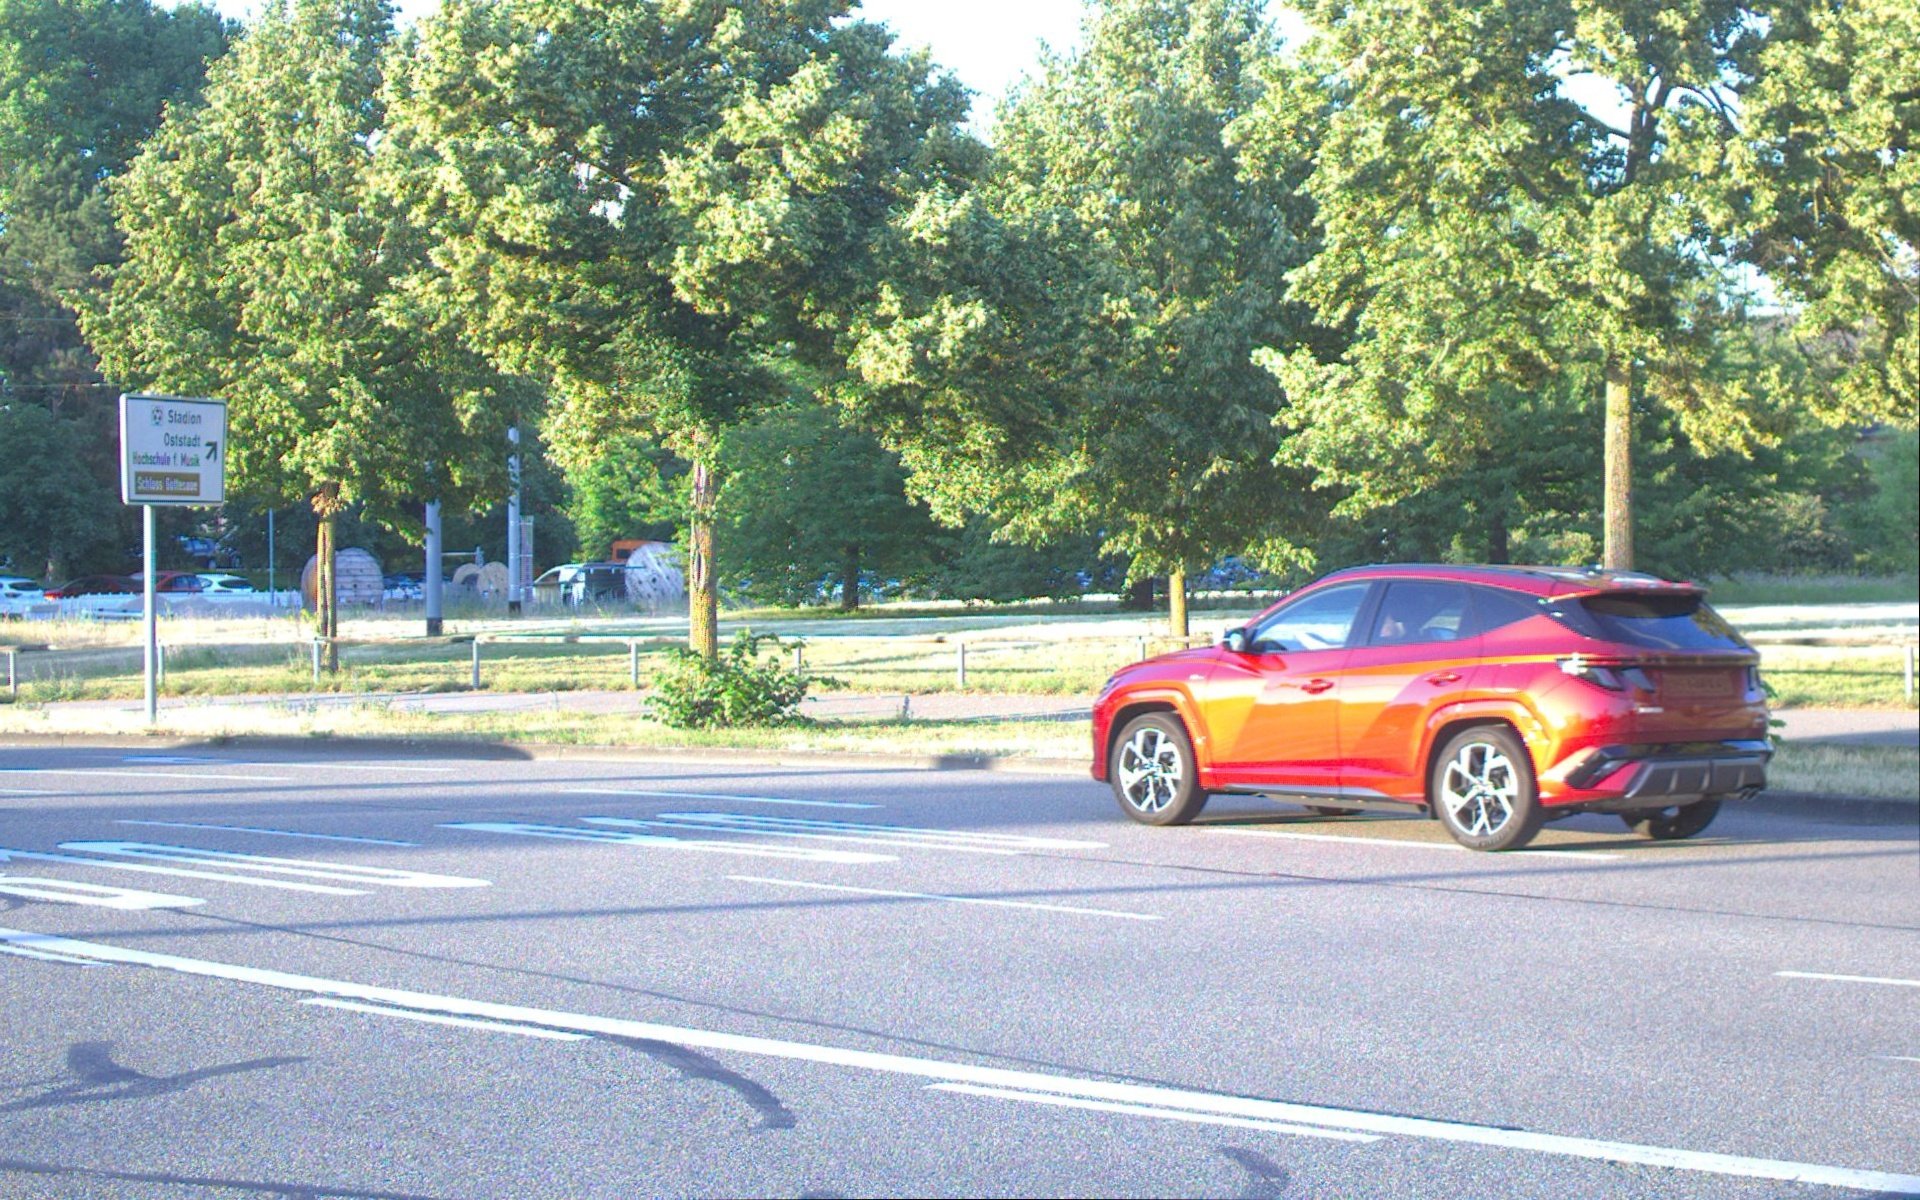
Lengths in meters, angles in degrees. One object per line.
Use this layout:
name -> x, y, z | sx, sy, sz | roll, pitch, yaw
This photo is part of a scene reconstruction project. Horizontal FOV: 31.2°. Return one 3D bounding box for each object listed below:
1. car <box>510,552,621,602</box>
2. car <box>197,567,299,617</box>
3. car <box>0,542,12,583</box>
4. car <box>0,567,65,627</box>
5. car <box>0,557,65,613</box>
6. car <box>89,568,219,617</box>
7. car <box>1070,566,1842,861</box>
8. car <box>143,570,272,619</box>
car -> -13.209, -0.773, 114.889 | 1.734, 1.612, 3.998 | -1, 1, -41
car -> -26.797, -0.318, 129.312 | 1.994, 1.746, 4.597 | -1, 2, -37
car -> -42.388, -1.574, 145.374 | 3.988, 1.700, 2.000 | 0, 1, 7
car -> -33.127, -0.091, 117.683 | 4.582, 2.007, 2.001 | -1, 1, -9
car -> -35.211, -0.548, 125.817 | 4.582, 2.007, 2.001 | -1, 1, -9
car -> -26.755, -0.259, 114.103 | 3.994, 1.598, 1.996 | 0, 1, 33
car -> 2.902, 0.589, 20.889 | 1.994, 1.568, 4.414 | -1, 1, -41
car -> -25.351, -0.203, 115.833 | 3.994, 1.598, 1.996 | 0, 1, 33
